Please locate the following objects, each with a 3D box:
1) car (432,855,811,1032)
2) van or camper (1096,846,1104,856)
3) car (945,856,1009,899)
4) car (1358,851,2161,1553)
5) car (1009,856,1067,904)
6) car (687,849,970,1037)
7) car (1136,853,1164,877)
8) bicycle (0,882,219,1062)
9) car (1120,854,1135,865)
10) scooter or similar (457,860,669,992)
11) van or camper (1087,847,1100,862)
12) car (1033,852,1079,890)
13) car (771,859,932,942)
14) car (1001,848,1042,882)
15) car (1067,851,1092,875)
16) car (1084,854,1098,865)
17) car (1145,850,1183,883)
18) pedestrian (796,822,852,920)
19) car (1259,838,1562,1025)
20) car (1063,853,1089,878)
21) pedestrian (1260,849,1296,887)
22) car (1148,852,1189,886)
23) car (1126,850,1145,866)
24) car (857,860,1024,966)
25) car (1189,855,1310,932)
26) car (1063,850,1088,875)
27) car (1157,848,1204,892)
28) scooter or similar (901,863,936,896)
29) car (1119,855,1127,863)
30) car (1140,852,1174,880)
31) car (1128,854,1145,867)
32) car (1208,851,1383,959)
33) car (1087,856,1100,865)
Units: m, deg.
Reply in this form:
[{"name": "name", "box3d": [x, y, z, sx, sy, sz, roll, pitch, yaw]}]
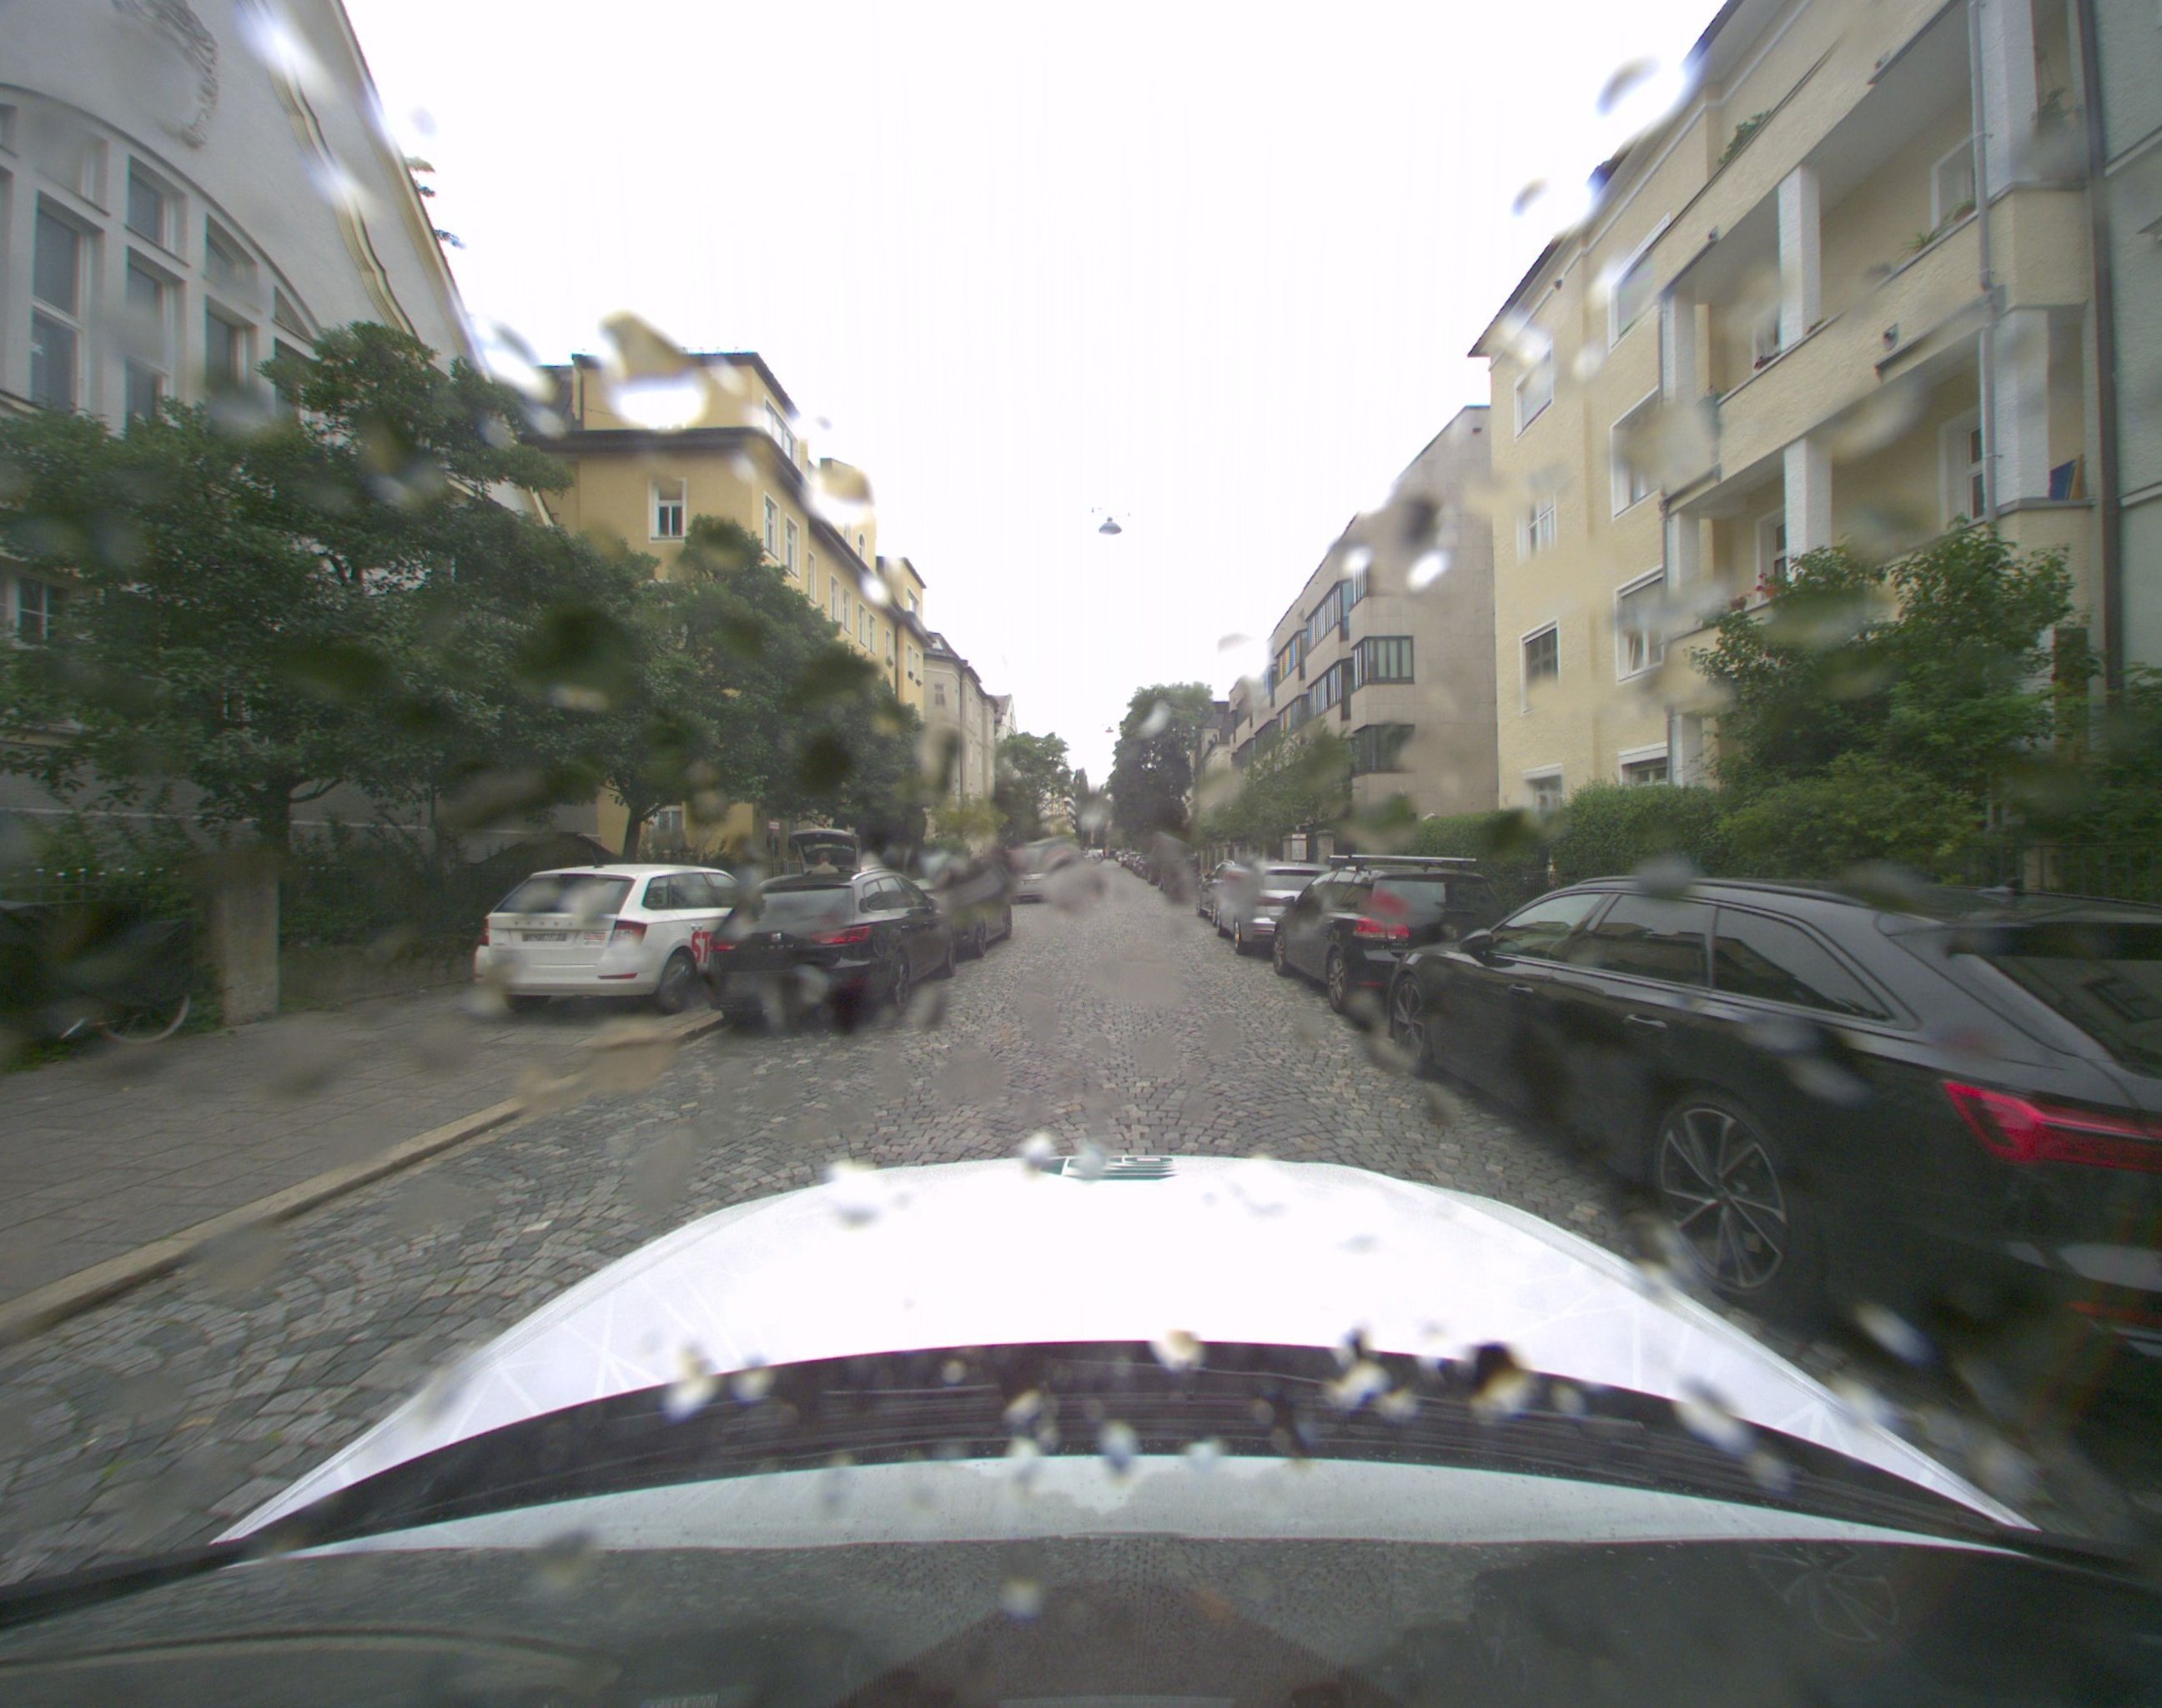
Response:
[{"name": "car", "box3d": [-4.790, 0.800, 9.405, 1.733, 1.536, 4.468, 1, 0, 1]}, {"name": "van or camper", "box3d": [5.527, -0.888, 236.764, 2.247, 2.742, 5.100, 0, 0, 2]}, {"name": "car", "box3d": [-3.941, 0.860, 31.702, 1.709, 1.497, 4.723, 1, 0, 2]}, {"name": "car", "box3d": [3.126, 0.779, 4.247, 1.811, 1.488, 5.052, 2, 0, 2]}, {"name": "car", "box3d": [-1.507, 0.901, 30.184, 1.707, 1.562, 4.392, -3, 0, 2]}, {"name": "car", "box3d": [-2.545, 0.797, 9.474, 1.733, 1.603, 4.538, -2, 0, 1]}, {"name": "car", "box3d": [5.113, 0.791, 60.795, 1.865, 1.735, 4.896, 1, 0, 3]}, {"name": "bicycle", "box3d": [-8.113, 0.883, 6.314, 0.603, 1.259, 2.061, 0, 0, 2]}, {"name": "car", "box3d": [6.340, 0.756, 111.256, 1.867, 1.503, 4.510, 2, 0, 0]}, {"name": "scooter or similar", "box3d": [-6.787, 0.855, 10.928, 1.058, 1.523, 2.636, -1, 0, 2]}, {"name": "van or camper", "box3d": [2.347, 0.119, 152.169, 1.986, 2.652, 4.002, -4, 0, 2]}, {"name": "car", "box3d": [-1.255, 0.856, 43.556, 1.998, 1.809, 5.178, -3, 0, 3]}, {"name": "car", "box3d": [-4.448, 0.822, 16.560, 1.768, 1.417, 4.564, 1, 0, 3]}, {"name": "car", "box3d": [-3.521, 0.610, 49.186, 1.987, 1.931, 5.331, 1, 0, 1]}, {"name": "car", "box3d": [-0.087, 0.792, 74.572, 1.986, 1.917, 5.178, -4, 0, 1]}, {"name": "car", "box3d": [1.503, 0.803, 119.525, 1.867, 1.580, 4.254, -4, 0, 0]}, {"name": "car", "box3d": [5.018, 0.742, 49.695, 1.782, 1.796, 4.509, 3, 0, 0]}, {"name": "pedestrian", "box3d": [-4.443, 0.291, 14.099, 0.763, 1.650, 0.583, 0, 0, 3]}, {"name": "car", "box3d": [3.421, 0.703, 9.448, 1.887, 1.654, 4.295, 1, 0, 1]}, {"name": "car", "box3d": [-0.403, 0.871, 63.036, 1.860, 1.735, 4.402, -3, 0, -1]}, {"name": "pedestrian", "box3d": [8.269, 0.588, 34.229, 1.211, 1.493, 1.131, -3, 0, 4]}, {"name": "car", "box3d": [4.686, 0.770, 44.258, 1.853, 1.702, 4.815, 2, 0, 2]}, {"name": "car", "box3d": [6.589, 0.480, 99.255, 1.867, 1.928, 5.163, 2, 0, 0]}, {"name": "car", "box3d": [-2.253, 0.886, 14.463, 1.807, 1.455, 4.916, -3, 0, 3]}, {"name": "car", "box3d": [3.876, 0.838, 19.604, 1.986, 1.552, 5.016, 1, 0, 2]}, {"name": "car", "box3d": [-0.391, 0.696, 68.176, 1.866, 1.917, 4.828, -3, 0, 1]}, {"name": "car", "box3d": [4.314, 0.669, 35.782, 1.613, 1.751, 3.887, 2, 0, 1]}, {"name": "scooter or similar", "box3d": [-6.291, 0.980, 31.580, 0.952, 1.200, 1.523, 2, 0, 2]}, {"name": "car", "box3d": [8.907, 1.071, 172.932, 1.783, 1.520, 4.002, -1, 0, 2]}, {"name": "car", "box3d": [5.160, 0.792, 55.700, 1.866, 1.735, 4.660, 3, 0, 1]}, {"name": "car", "box3d": [6.350, 0.741, 93.540, 1.829, 1.490, 4.424, 2, 0, 3]}, {"name": "car", "box3d": [3.513, 0.749, 14.385, 1.985, 1.552, 4.989, 1, 0, 3]}, {"name": "car", "box3d": [2.083, 1.079, 137.194, 1.864, 1.580, 4.214, 1, 0, 5]}]
